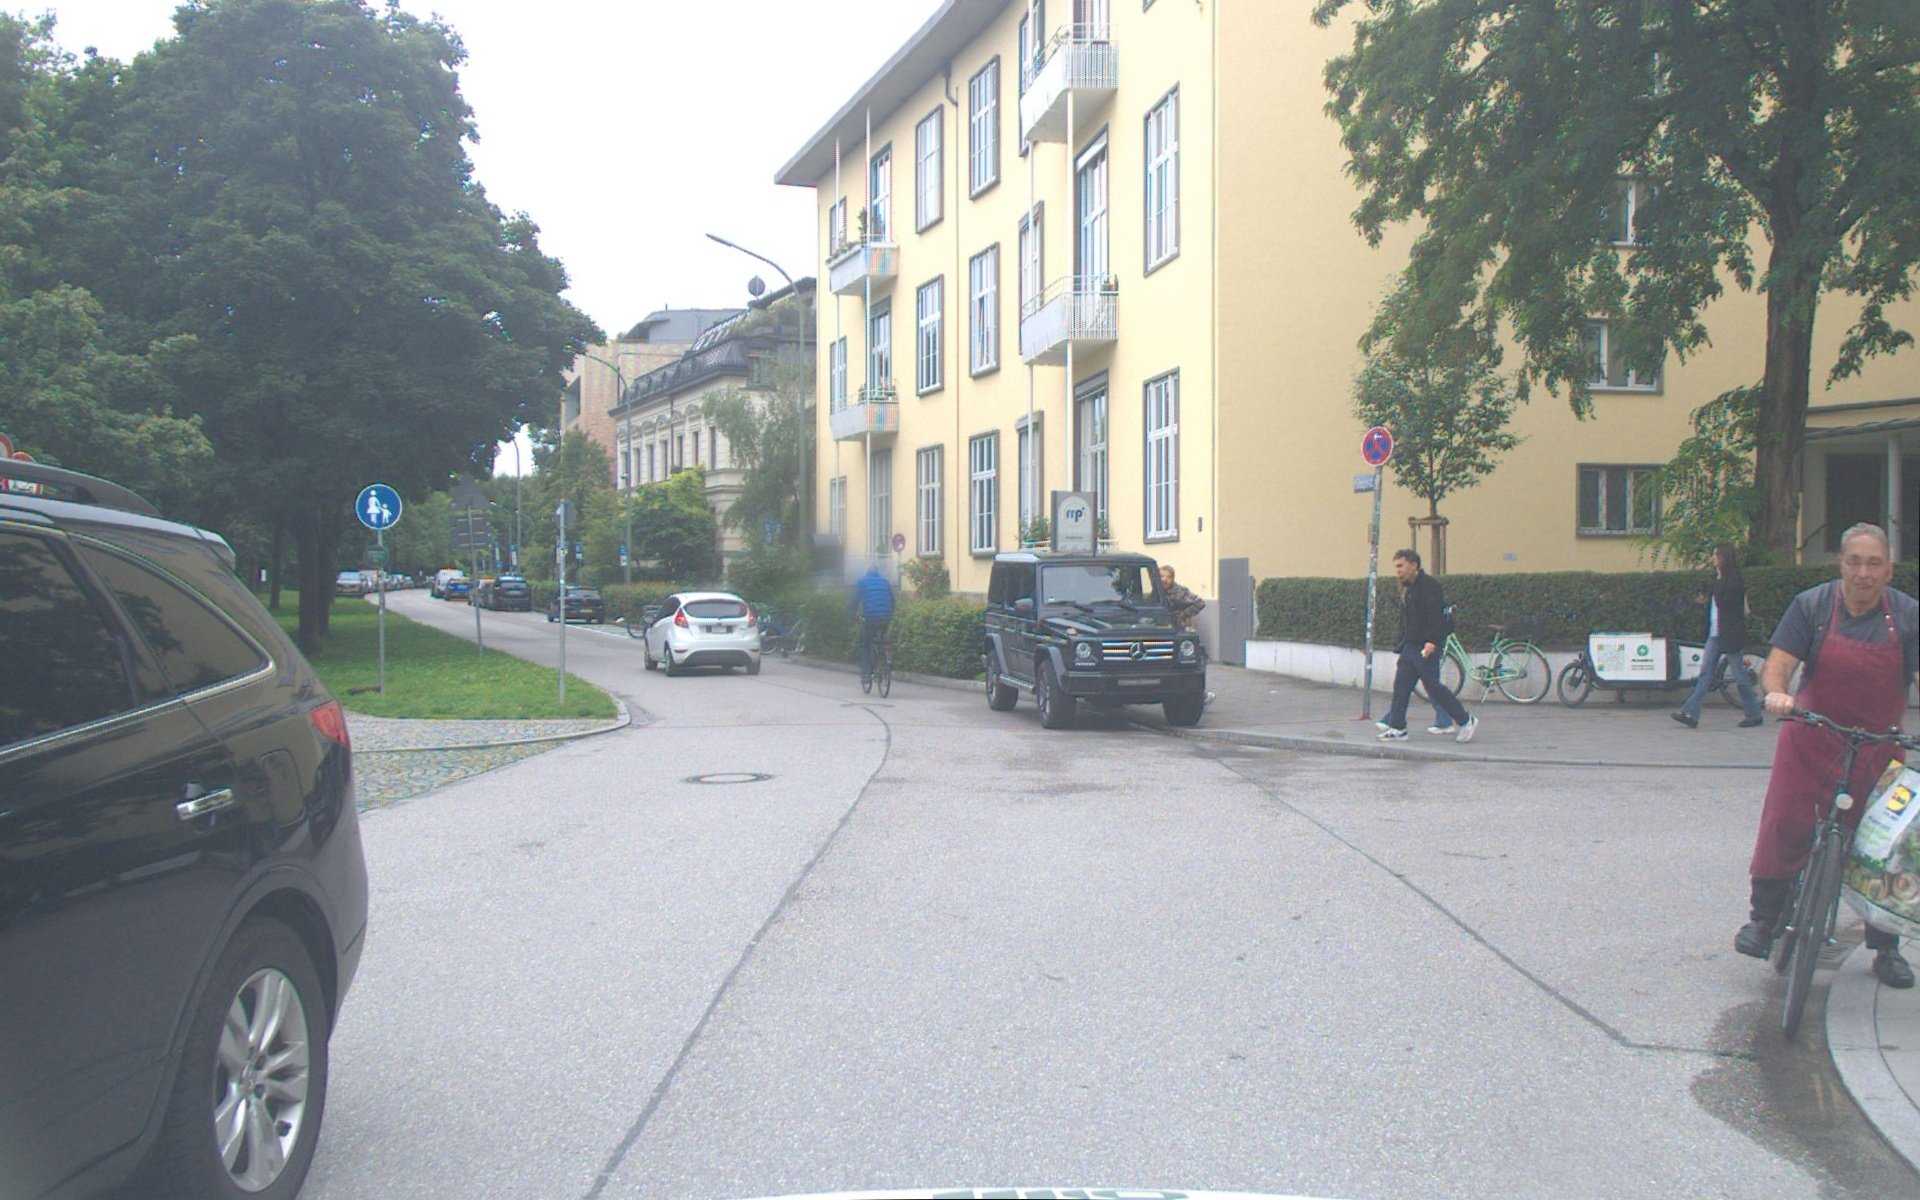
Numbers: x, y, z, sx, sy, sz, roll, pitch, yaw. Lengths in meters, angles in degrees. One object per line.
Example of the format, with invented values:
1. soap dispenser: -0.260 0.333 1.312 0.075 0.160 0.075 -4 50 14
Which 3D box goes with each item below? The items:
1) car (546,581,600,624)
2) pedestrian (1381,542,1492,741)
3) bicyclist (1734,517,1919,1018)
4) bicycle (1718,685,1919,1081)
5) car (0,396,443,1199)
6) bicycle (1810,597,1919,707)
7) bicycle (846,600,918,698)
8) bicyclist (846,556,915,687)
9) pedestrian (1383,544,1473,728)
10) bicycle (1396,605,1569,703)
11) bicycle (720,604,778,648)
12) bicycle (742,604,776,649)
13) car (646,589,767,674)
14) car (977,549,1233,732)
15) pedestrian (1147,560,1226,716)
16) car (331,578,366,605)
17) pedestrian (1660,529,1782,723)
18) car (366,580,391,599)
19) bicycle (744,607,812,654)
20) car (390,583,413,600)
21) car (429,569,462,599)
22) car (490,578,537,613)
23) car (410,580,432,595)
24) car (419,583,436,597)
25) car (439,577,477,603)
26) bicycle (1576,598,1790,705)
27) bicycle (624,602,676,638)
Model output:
1. car: -15.123 0.073 64.580 1.623 1.585 3.538 -1 1 -20
2. pedestrian: 4.510 0.385 15.687 0.968 1.841 0.660 -1 0 15
3. bicyclist: 3.287 0.539 5.896 0.857 1.637 1.050 0 1 20
4. bicycle: 3.296 0.901 5.949 0.858 1.037 2.191 0 1 20
5. car: -2.518 0.560 2.470 1.952 1.749 4.616 -1 1 1
6. bicycle: 10.108 0.548 17.826 1.647 1.150 0.460 -1 1 1
7. bicycle: -1.131 0.664 23.423 0.903 1.274 2.319 -1 1 -5
8. bicyclist: -1.133 0.287 23.410 0.896 1.795 1.214 -1 1 -6
9. pedestrian: 4.657 0.346 16.430 0.809 1.776 0.741 0 1 19
10. bicycle: 6.199 0.645 19.693 0.525 1.103 1.917 0 -2 -45
11. bicycle: -5.298 0.653 41.609 1.525 1.032 0.361 -2 1 -43
12. bicycle: -4.910 0.639 40.526 0.358 1.032 1.539 -1 1 10
13. car: -4.710 0.524 30.389 1.719 1.431 3.710 -1 1 -17
14. car: 1.587 0.396 19.919 1.840 1.920 4.606 -1 1 -11
15. pedestrian: 2.680 0.435 19.661 0.830 1.788 0.954 -1 1 4
16. car: -38.916 -0.557 105.181 1.966 1.628 4.438 -1 1 -22
17. pedestrian: 7.682 0.259 16.725 0.832 1.890 0.767 -2 0 1
18. car: -52.293 -0.940 148.903 1.962 1.628 4.445 -1 1 -18
19. bicycle: -4.259 0.698 38.720 1.513 1.032 0.364 -2 1 -24
20. car: -56.883 -0.850 168.562 1.771 1.687 4.237 -1 0 -12
21. car: -36.077 -1.124 115.925 2.035 2.000 4.950 -1 1 -19
22. car: -22.334 -0.237 82.647 1.769 1.709 3.972 -1 1 -23
23. car: -62.493 -1.462 191.789 1.959 1.628 4.452 -1 1 -14
24. car: -63.571 -1.205 197.535 1.772 1.687 4.233 -1 0 -15
25. car: -32.585 -0.671 107.324 1.967 1.628 4.224 -1 1 -23
26. bicycle: 7.997 0.555 18.382 2.122 1.135 0.641 0 1 19
27. bicycle: -9.497 0.602 50.717 1.522 1.032 0.404 -2 1 -39
